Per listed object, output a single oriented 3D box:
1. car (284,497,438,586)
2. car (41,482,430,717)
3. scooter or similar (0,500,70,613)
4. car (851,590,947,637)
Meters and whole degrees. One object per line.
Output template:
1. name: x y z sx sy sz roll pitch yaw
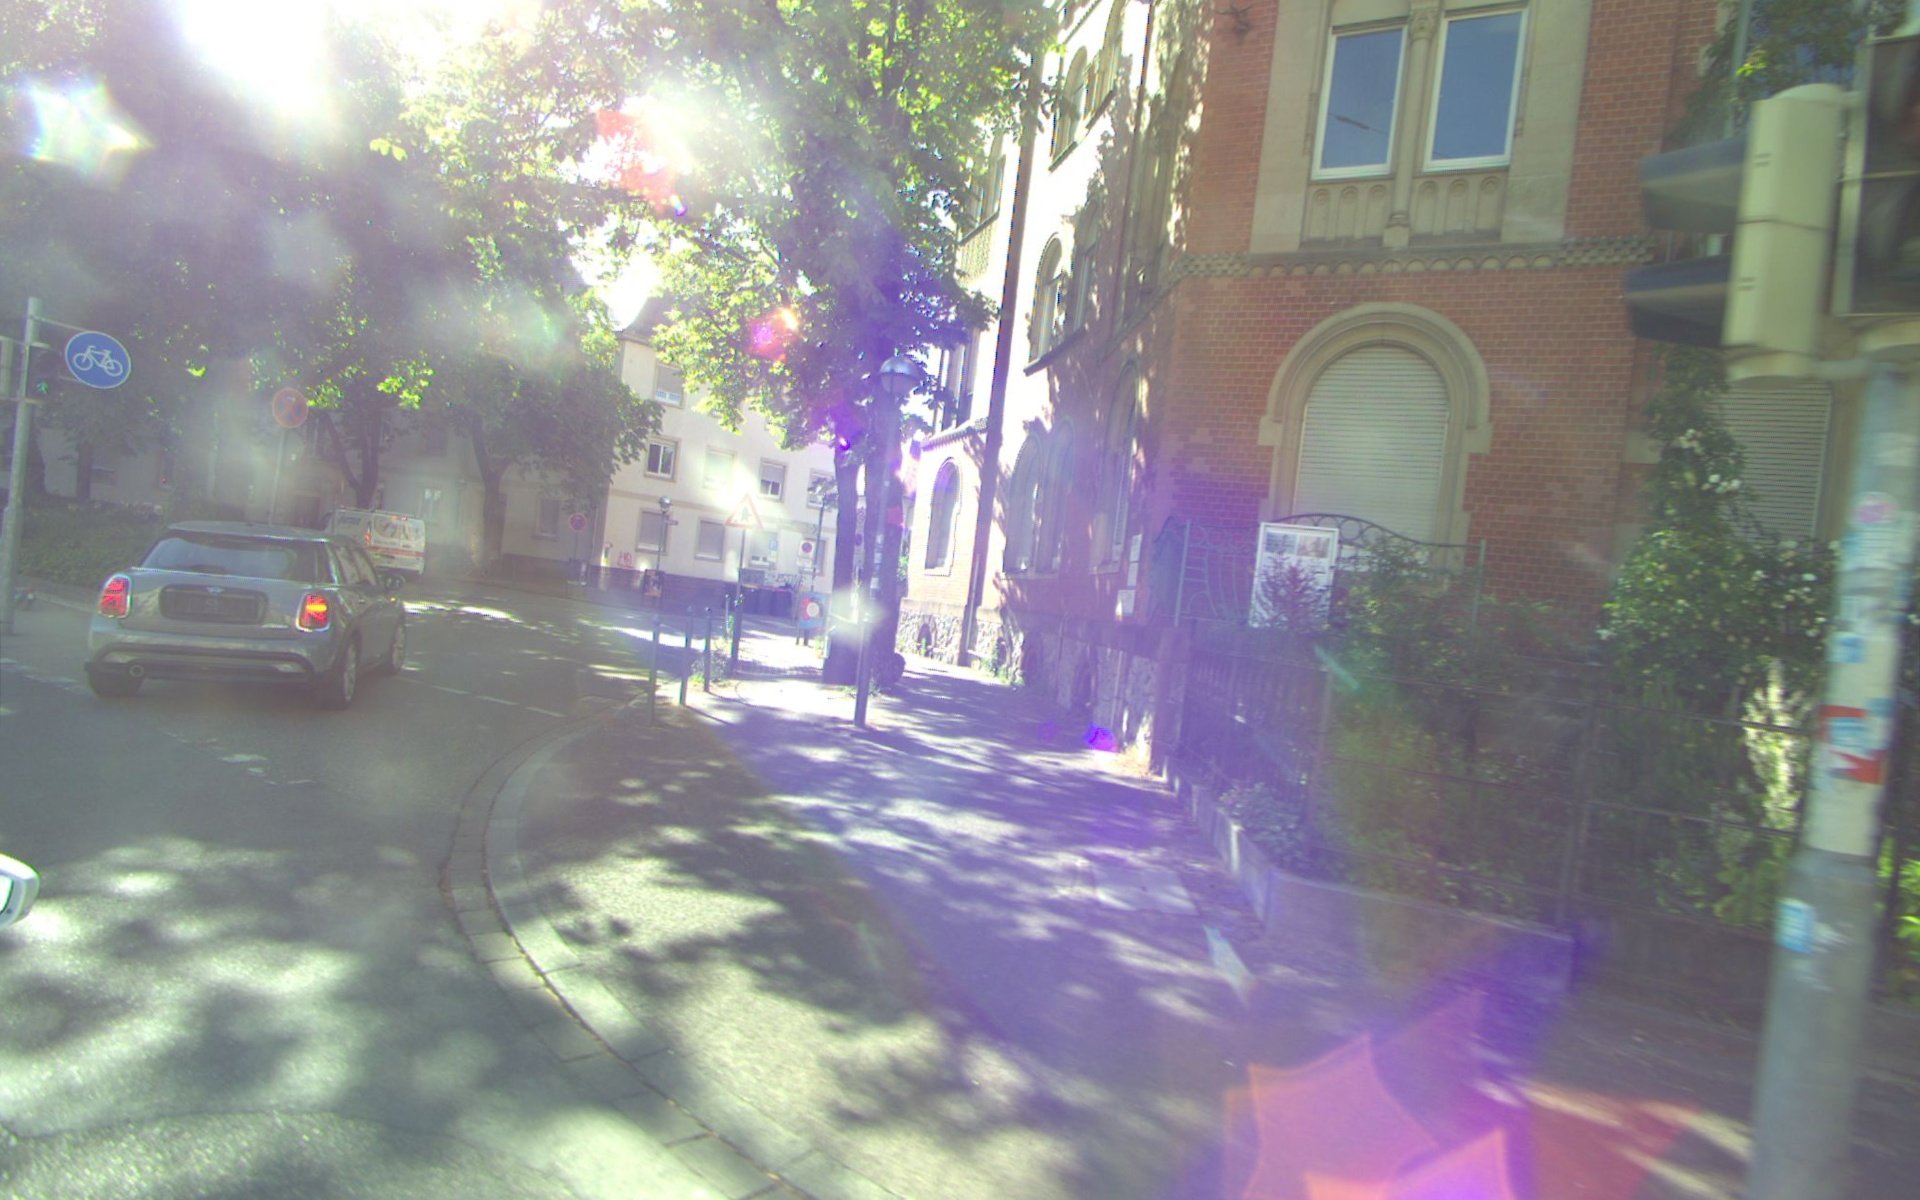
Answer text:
1. car: -18.574 -1.834 31.126 4.867 2.234 2.120 6 -1 35
2. car: -6.229 0.003 9.242 1.796 1.505 3.982 7 -2 -21
3. scooter or similar: -12.055 -0.579 12.712 1.305 1.326 0.678 6 -1 27
4. car: -2.541 0.537 41.677 3.747 1.495 1.597 6 -2 39
